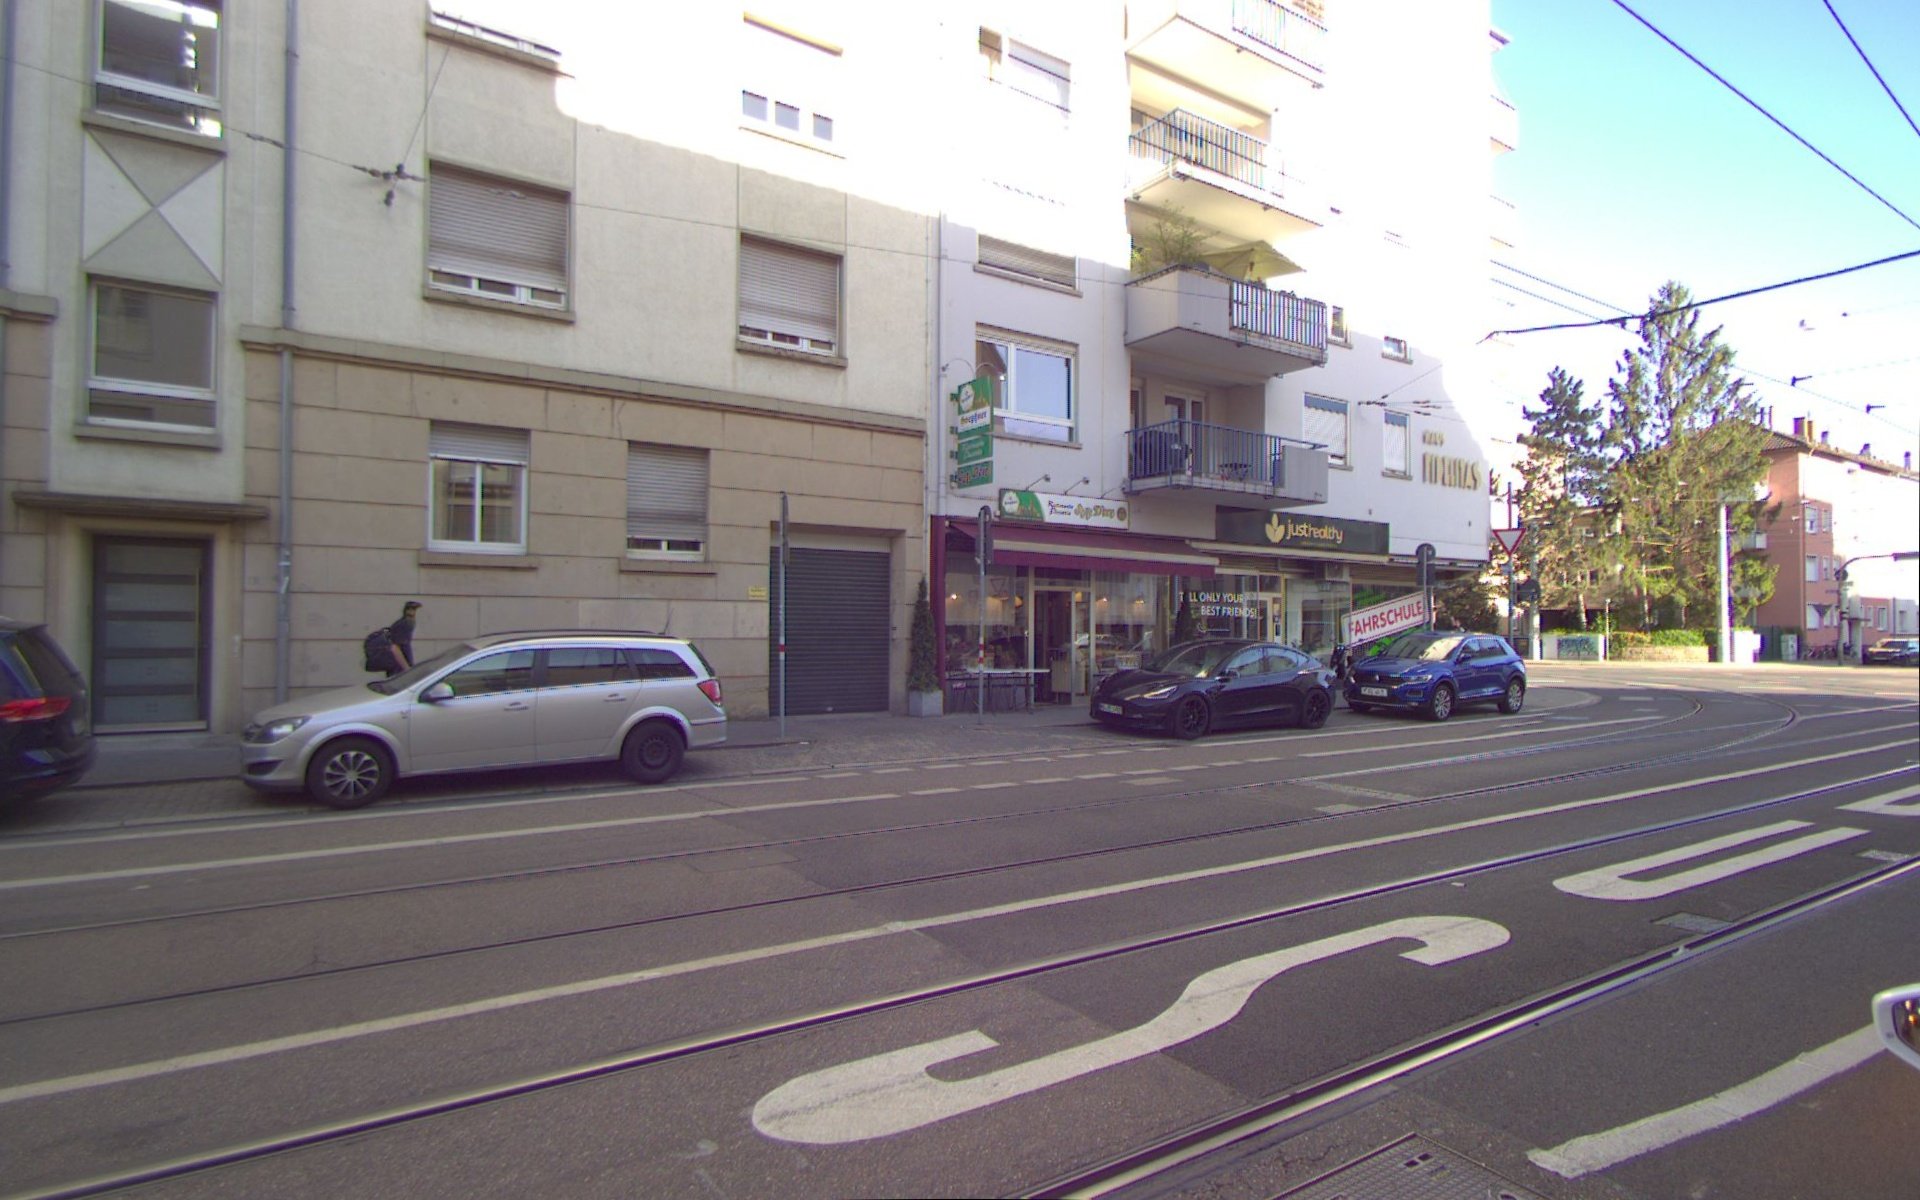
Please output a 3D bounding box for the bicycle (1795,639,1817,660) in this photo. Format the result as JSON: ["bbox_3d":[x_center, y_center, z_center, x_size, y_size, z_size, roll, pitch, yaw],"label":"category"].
[{"bbox_3d":[46.869,2.731,55.618,1.895,1.097,0.634,2,-2,-41],"label":"bicycle"}]

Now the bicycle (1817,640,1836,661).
[{"bbox_3d":[47.592,2.753,55.151,1.895,1.097,0.532,2,-2,-41],"label":"bicycle"}]

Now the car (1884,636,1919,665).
[{"bbox_3d":[54.260,2.847,56.999,4.006,1.539,1.938,1,-2,-36],"label":"car"}]

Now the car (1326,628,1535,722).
[{"bbox_3d":[8.977,1.347,19.070,4.072,1.525,1.714,1,1,-34],"label":"car"}]

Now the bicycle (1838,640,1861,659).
[{"bbox_3d":[53.144,2.944,60.011,1.892,1.097,0.605,1,-2,-37],"label":"bicycle"}]

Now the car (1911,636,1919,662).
[{"bbox_3d":[58.114,2.904,59.438,3.961,1.539,1.938,1,-2,-36],"label":"car"}]

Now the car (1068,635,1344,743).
[{"bbox_3d":[3.998,1.317,16.028,4.442,1.422,1.714,1,1,-34],"label":"car"}]

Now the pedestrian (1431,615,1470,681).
[{"bbox_3d":[13.997,1.355,28.658,0.707,1.859,0.771,0,-1,-3],"label":"pedestrian"}]

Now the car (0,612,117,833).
[{"bbox_3d":[-9.009,0.880,7.178,4.343,1.620,1.785,1,-1,-34],"label":"car"}]

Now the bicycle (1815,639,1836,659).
[{"bbox_3d":[50.728,2.867,58.867,1.892,1.097,0.533,1,-2,-37],"label":"bicycle"}]

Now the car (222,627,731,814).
[{"bbox_3d":[-4.721,1.050,10.199,4.343,1.497,1.785,1,-1,-34],"label":"car"}]

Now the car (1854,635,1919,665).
[{"bbox_3d":[49.712,2.622,53.769,3.961,1.539,1.938,1,-2,-36],"label":"car"}]

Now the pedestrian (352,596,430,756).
[{"bbox_3d":[-6.404,0.833,11.306,0.722,1.731,0.600,1,-2,-32],"label":"pedestrian"}]

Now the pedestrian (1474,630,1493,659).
[{"bbox_3d":[30.636,2.592,58.757,0.674,1.725,0.802,1,-2,-38],"label":"pedestrian"}]
